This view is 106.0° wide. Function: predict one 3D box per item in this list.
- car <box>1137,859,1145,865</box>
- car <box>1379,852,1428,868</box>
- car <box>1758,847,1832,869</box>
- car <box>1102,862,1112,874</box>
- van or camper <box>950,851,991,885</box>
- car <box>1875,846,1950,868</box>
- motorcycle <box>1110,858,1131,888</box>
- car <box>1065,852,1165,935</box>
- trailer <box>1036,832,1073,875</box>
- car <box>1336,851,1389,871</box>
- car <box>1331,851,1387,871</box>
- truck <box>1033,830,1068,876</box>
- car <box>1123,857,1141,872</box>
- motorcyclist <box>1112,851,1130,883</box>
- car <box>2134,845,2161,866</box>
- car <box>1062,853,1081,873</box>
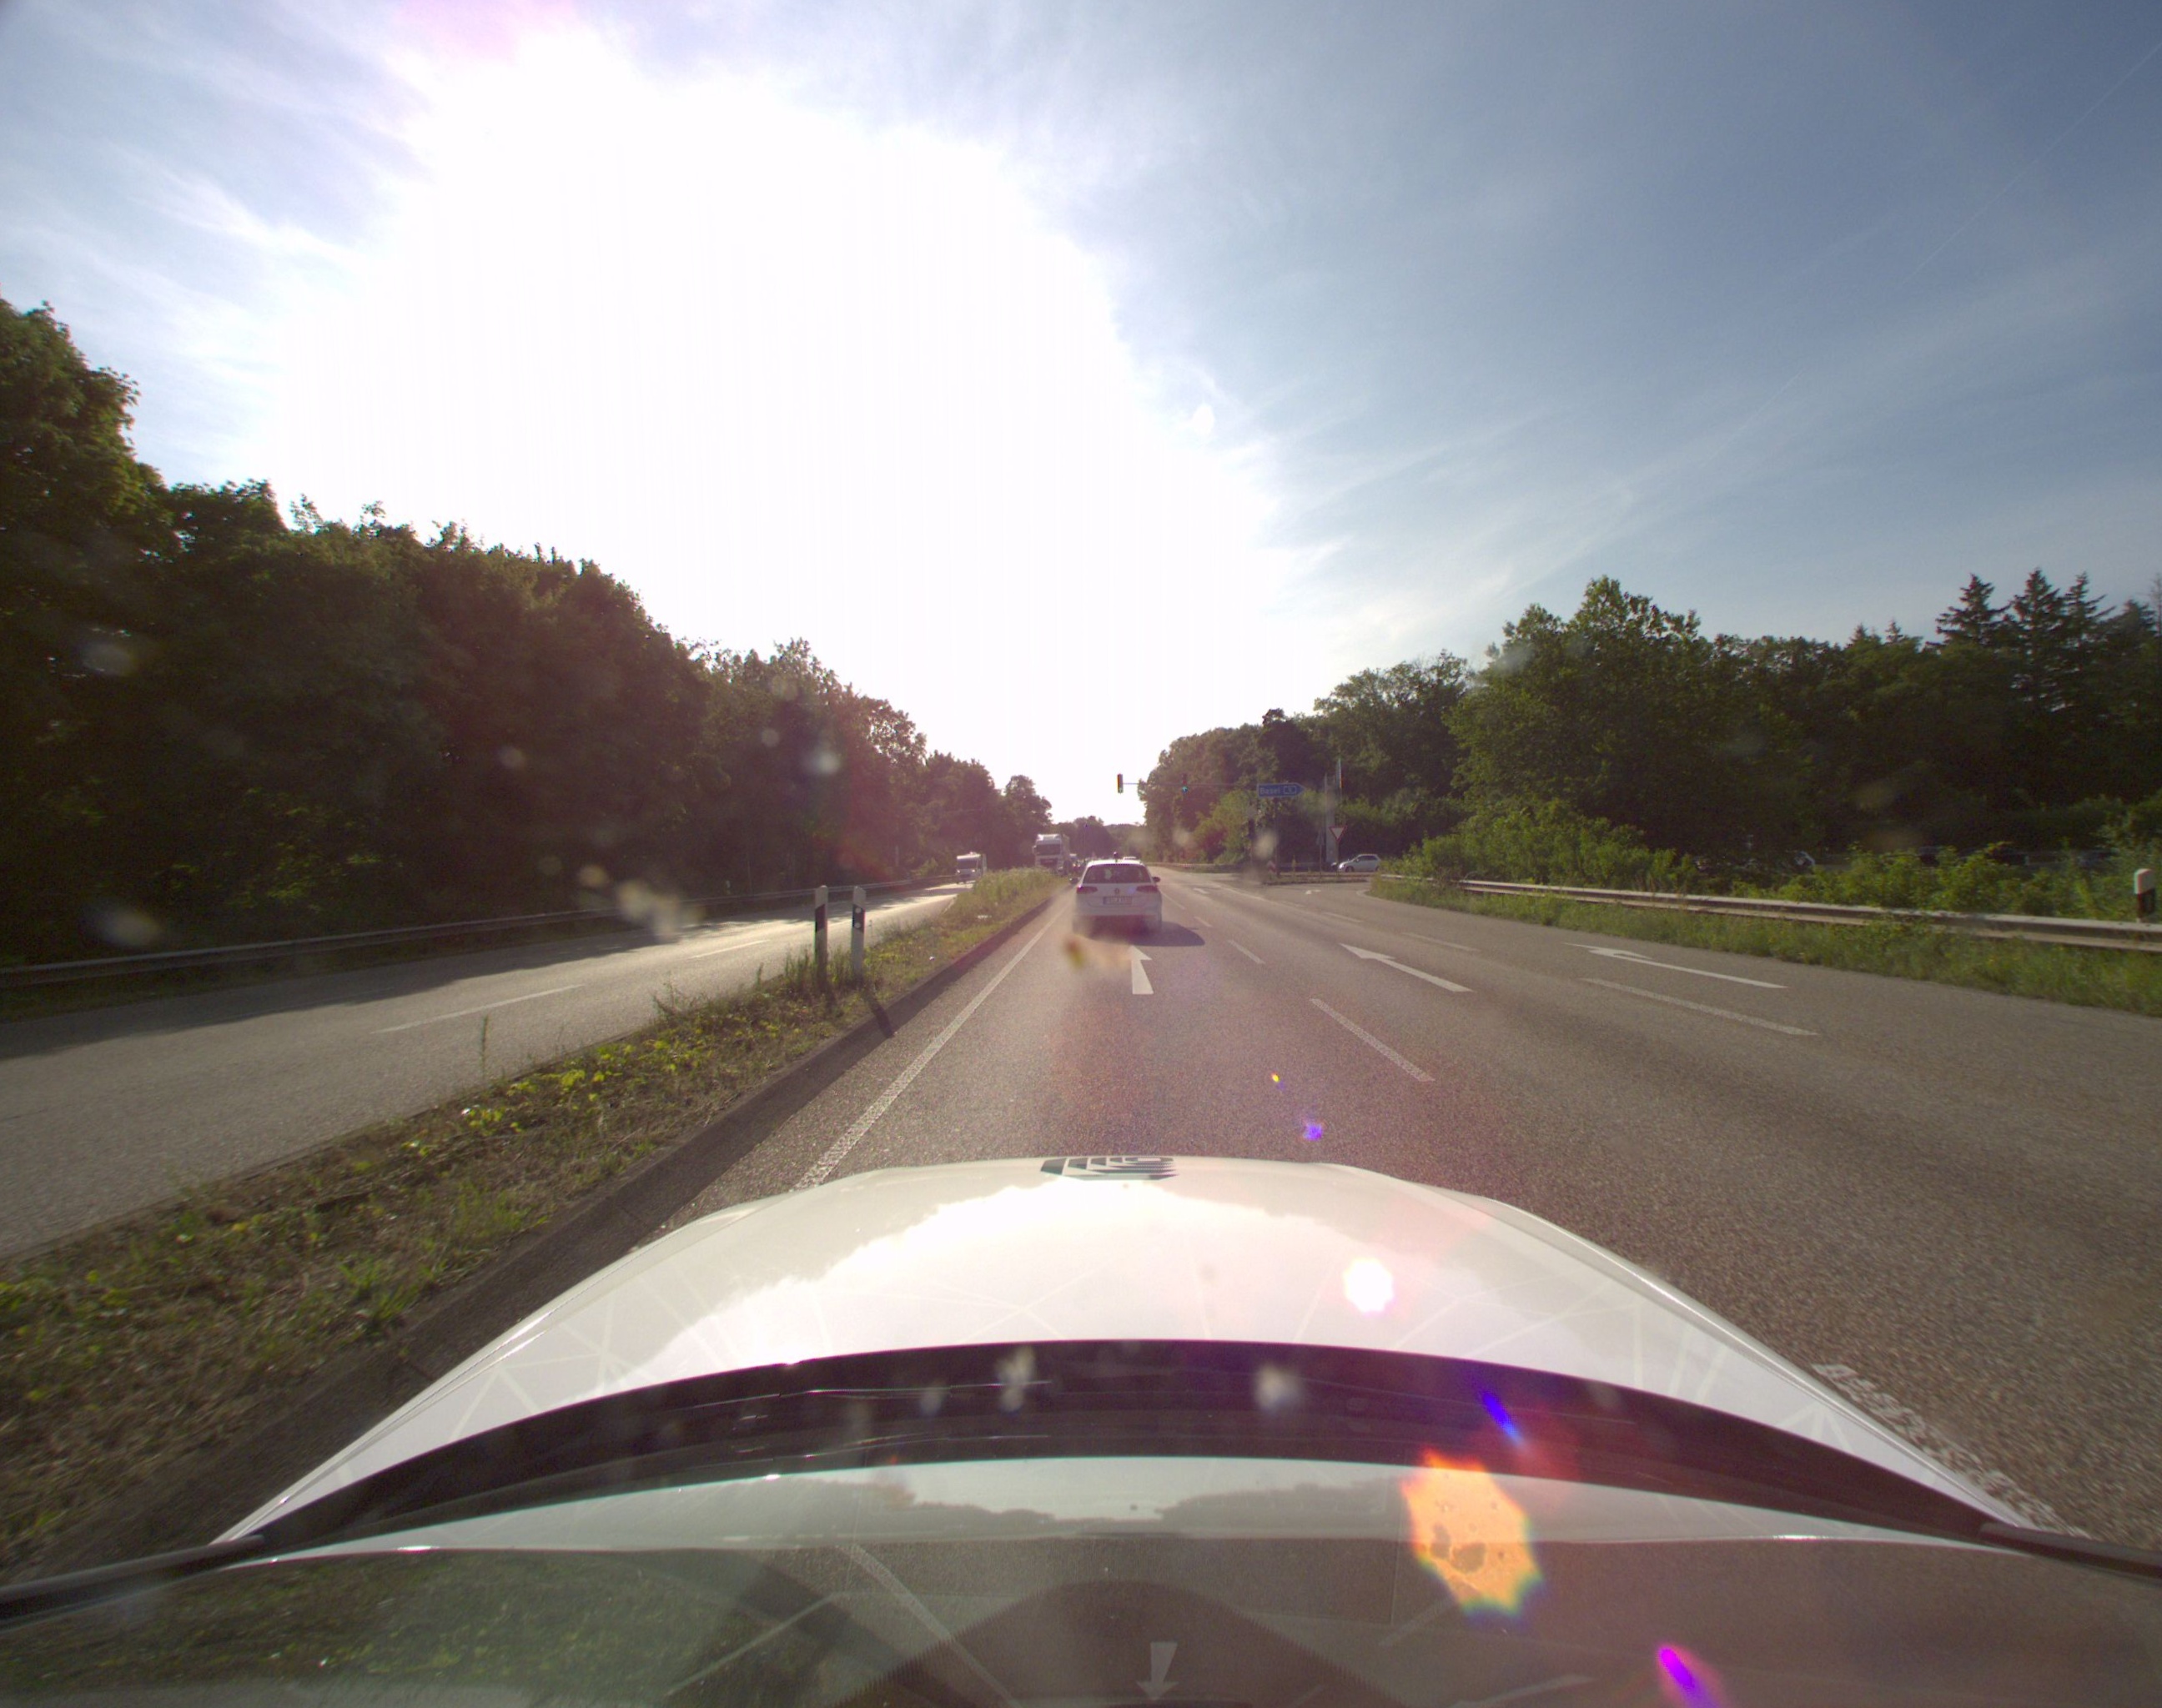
[{"bbox_3d":[13.816,1.816,187.183,1.754,1.380,3.975,-3,1,3],"label":"car"},{"bbox_3d":[27.641,0.485,69.801,3.607,1.313,1.494,-1,0,6],"label":"car"},{"bbox_3d":[51.396,0.300,58.671,3.577,1.503,1.813,-1,0,8],"label":"car"},{"bbox_3d":[6.729,3.536,210.712,2.201,2.888,7.015,-3,0,2],"label":"car"},{"bbox_3d":[-10.023,1.244,74.300,2.403,2.711,6.441,-5,-1,2],"label":"van or camper"},{"bbox_3d":[62.373,0.225,61.170,3.577,1.503,1.813,-1,0,8],"label":"car"},{"bbox_3d":[2.085,0.974,42.462,0.904,1.453,2.692,-5,0,4],"label":"motorcycle"},{"bbox_3d":[0.765,0.758,17.808,1.862,1.521,4.838,-1,0,3],"label":"car"},{"bbox_3d":[-2.517,-0.033,82.986,2.980,3.996,14.017,0,0,1],"label":"trailer"},{"bbox_3d":[21.892,0.557,63.449,3.578,1.503,1.812,-1,0,7],"label":"car"},{"bbox_3d":[22.861,0.582,67.146,4.089,1.496,1.788,-1,0,6],"label":"car"},{"bbox_3d":[-2.719,-0.076,75.027,2.880,3.997,6.722,0,0,1],"label":"truck"},{"bbox_3d":[4.934,0.979,78.908,1.754,1.380,3.975,-1,0,3],"label":"car"},{"bbox_3d":[2.086,0.680,42.514,0.879,1.616,1.292,0,0,4],"label":"motorcyclist"},{"bbox_3d":[80.789,0.059,60.032,3.577,1.503,1.813,-1,0,8],"label":"car"},{"bbox_3d":[-1.268,1.143,109.473,2.067,2.533,6.167,-3,0,2],"label":"car"}]
